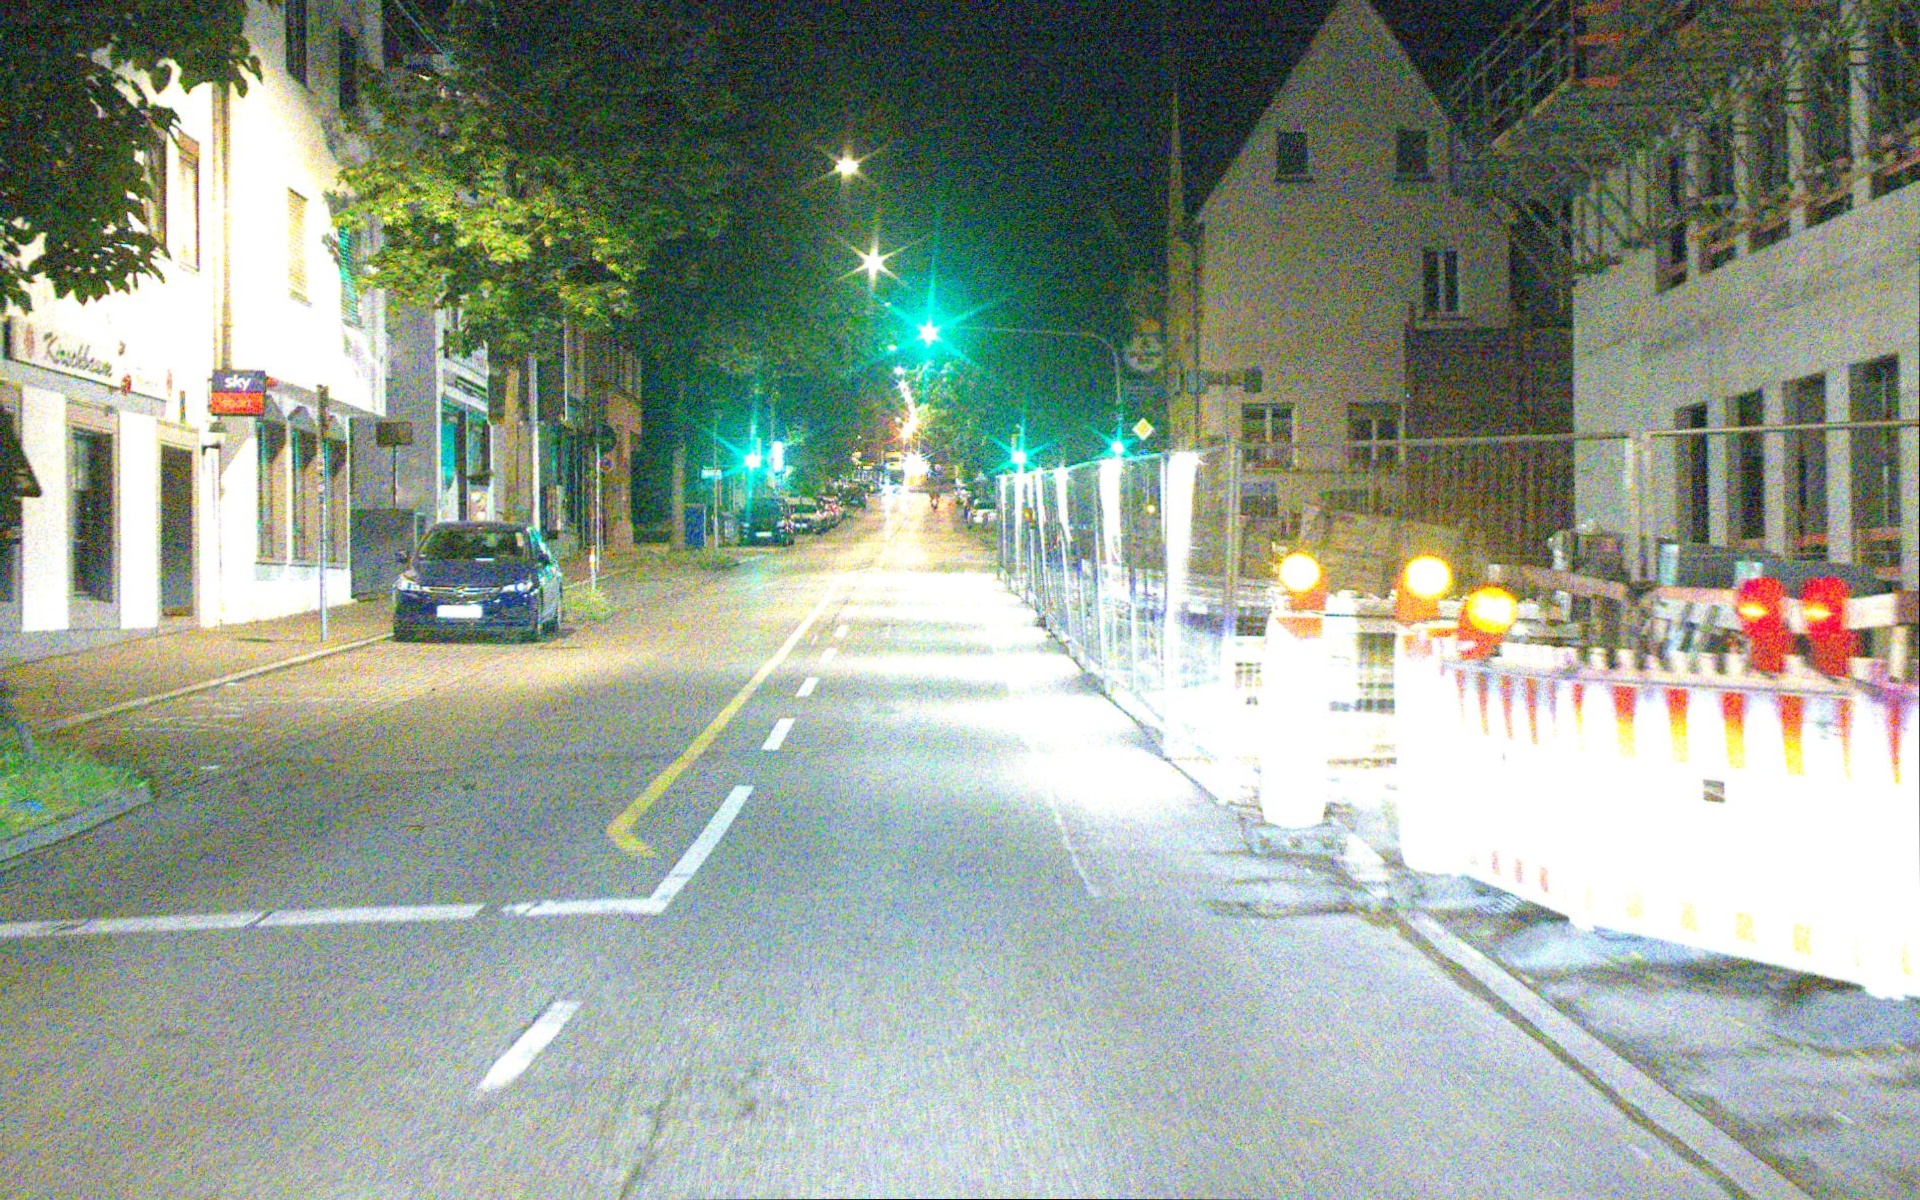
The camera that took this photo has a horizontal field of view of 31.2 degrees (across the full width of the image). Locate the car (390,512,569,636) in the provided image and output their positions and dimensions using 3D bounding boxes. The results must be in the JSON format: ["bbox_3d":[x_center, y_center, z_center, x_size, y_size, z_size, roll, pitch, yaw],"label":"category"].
[{"bbox_3d":[-5.936,-0.363,42.866,1.671,1.438,4.205,0,2,-1],"label":"car"}]

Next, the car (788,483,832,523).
[{"bbox_3d":[-6.909,-4.480,158.274,1.873,1.808,4.205,0,2,-1],"label":"car"}]

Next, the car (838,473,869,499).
[{"bbox_3d":[-7.512,-8.036,242.701,2.077,1.808,4.205,0,2,0],"label":"car"}]

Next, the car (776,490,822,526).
[{"bbox_3d":[-7.099,-4.082,152.092,1.873,1.539,4.205,0,2,-1],"label":"car"}]

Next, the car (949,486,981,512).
[{"bbox_3d":[0.284,-6.008,204.238,1.873,1.539,4.205,0,2,-1],"label":"car"}]

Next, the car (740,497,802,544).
[{"bbox_3d":[-6.307,-2.674,114.878,1.873,1.539,4.205,0,2,-1],"label":"car"}]

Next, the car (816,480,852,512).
[{"bbox_3d":[-7.112,-5.885,194.509,1.873,1.808,4.205,0,2,0],"label":"car"}]

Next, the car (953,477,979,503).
[{"bbox_3d":[0.429,-8.110,252.767,1.873,1.900,4.205,0,2,-1],"label":"car"}]

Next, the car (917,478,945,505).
[{"bbox_3d":[-1.959,-7.348,233.247,1.873,1.808,4.205,0,2,0],"label":"car"}]

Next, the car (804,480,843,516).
[{"bbox_3d":[-6.993,-5.262,176.561,1.873,1.808,4.205,0,2,-1],"label":"car"}]

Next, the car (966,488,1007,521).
[{"bbox_3d":[1.269,-4.608,165.307,1.873,1.539,4.205,0,2,-1],"label":"car"}]
